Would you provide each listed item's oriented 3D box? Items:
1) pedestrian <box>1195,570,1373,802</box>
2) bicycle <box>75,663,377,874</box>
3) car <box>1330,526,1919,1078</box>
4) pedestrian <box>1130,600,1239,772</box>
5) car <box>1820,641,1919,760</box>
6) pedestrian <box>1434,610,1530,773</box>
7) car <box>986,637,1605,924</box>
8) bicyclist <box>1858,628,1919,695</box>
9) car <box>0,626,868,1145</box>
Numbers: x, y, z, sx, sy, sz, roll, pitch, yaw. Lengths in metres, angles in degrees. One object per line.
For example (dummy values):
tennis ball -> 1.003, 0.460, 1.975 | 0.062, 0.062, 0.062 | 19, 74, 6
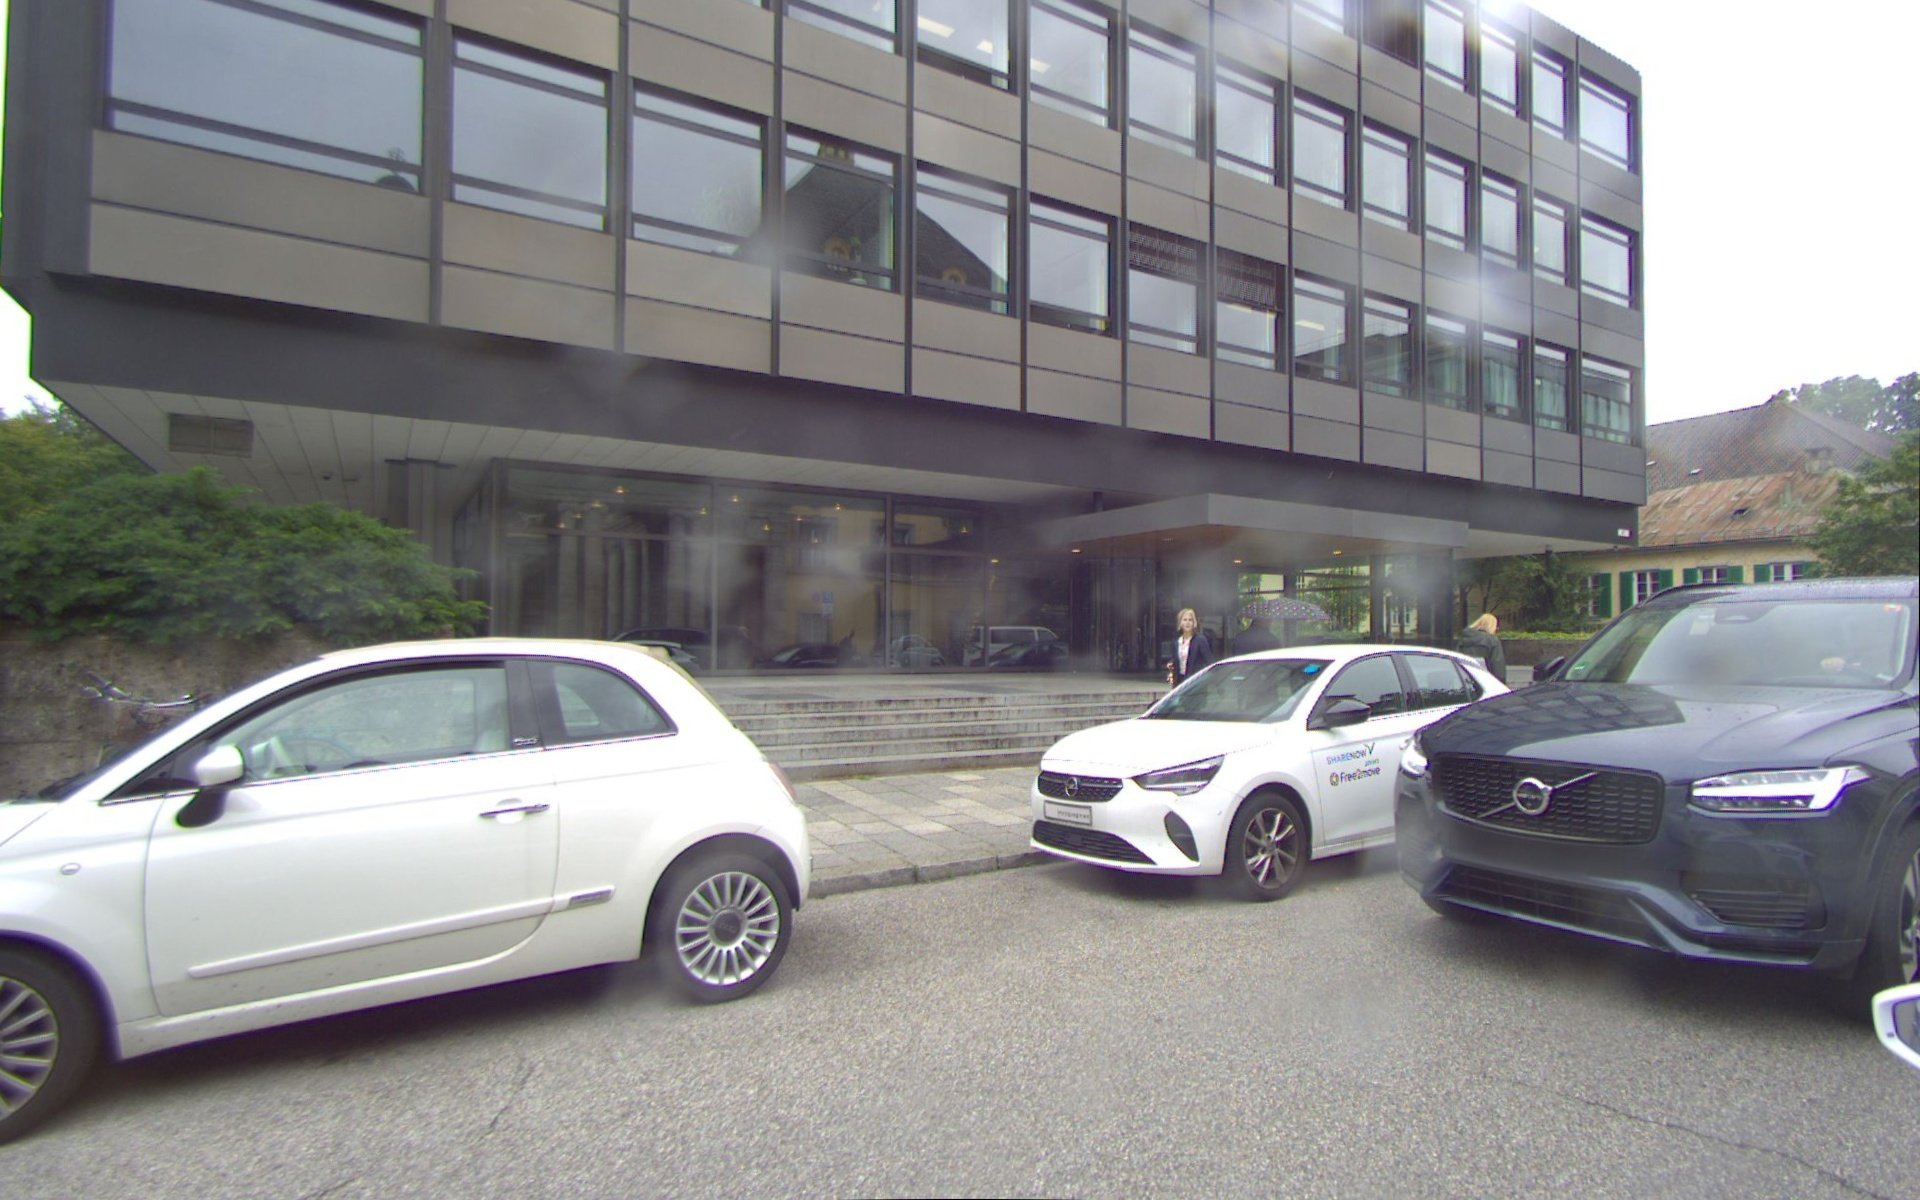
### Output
pedestrian -> 3.154, 0.789, 9.814 | 1.207, 2.082, 1.129 | 1, -1, -31
bicycle -> -4.701, 1.029, 6.556 | 1.510, 1.180, 0.639 | 1, 0, -32
car -> 4.369, 0.733, 5.224 | 4.855, 1.703, 1.951 | 1, -4, -31
pedestrian -> 2.438, 0.906, 10.919 | 0.884, 1.775, 0.683 | 3, -1, -35
car -> 13.797, 1.302, 13.601 | 4.865, 1.458, 1.913 | 2, -5, -33
pedestrian -> 6.008, 1.017, 11.545 | 0.745, 1.772, 0.947 | -1, -2, 43
car -> 2.418, 1.032, 6.959 | 4.229, 1.458, 1.674 | 2, -5, -30
bicyclist -> 21.817, 1.429, 23.505 | 1.076, 1.517, 0.672 | 0, -3, 33
car -> -2.291, 0.886, 4.109 | 3.512, 1.489, 1.536 | 1, -4, -31
